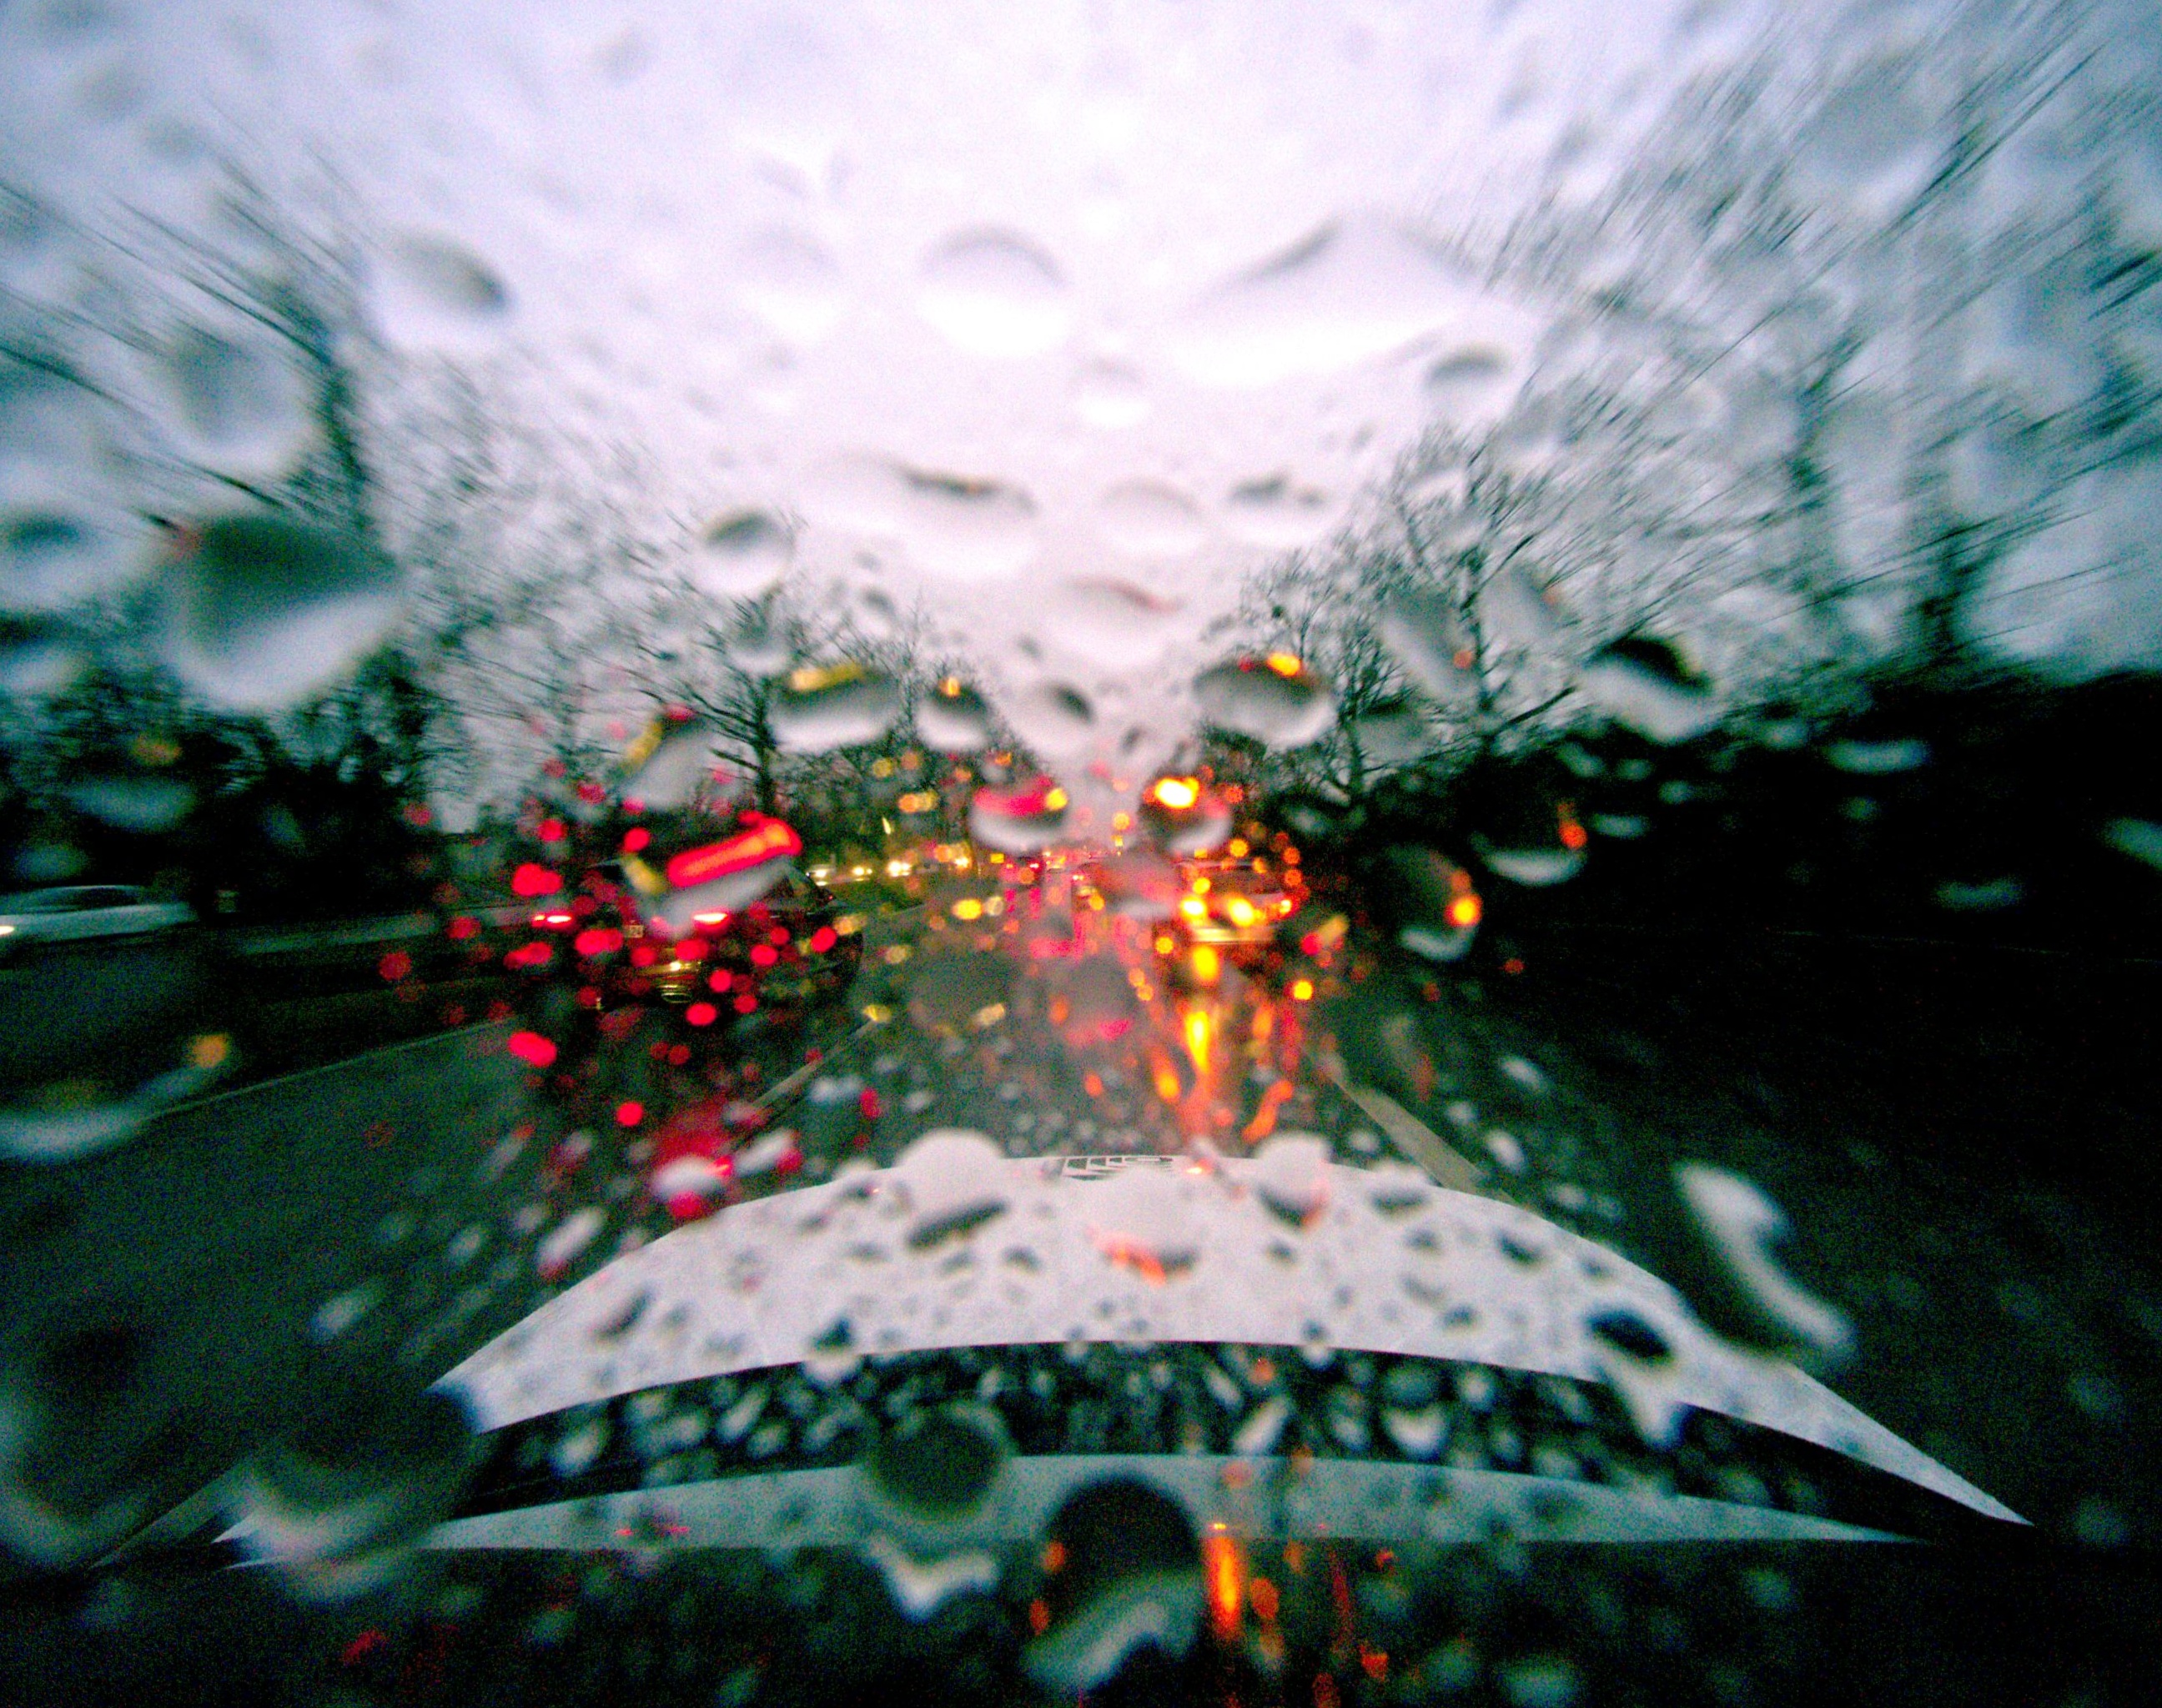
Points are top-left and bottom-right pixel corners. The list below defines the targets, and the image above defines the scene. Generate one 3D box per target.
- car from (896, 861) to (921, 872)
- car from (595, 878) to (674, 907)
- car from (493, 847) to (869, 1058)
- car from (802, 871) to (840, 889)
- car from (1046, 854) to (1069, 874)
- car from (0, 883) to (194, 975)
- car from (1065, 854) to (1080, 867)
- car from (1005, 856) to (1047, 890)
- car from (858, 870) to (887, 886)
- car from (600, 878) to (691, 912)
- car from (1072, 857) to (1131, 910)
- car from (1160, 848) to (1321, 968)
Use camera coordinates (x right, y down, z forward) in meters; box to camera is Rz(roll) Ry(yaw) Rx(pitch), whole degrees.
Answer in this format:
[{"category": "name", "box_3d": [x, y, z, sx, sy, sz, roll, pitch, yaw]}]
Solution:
[{"category": "car", "box_3d": [-20.739, 1.519, 98.236, 1.986, 1.191, 4.002, 0, -1, 2]}, {"category": "car", "box_3d": [-23.697, 2.014, 43.387, 1.745, 1.308, 4.316, -1, -1, 1]}, {"category": "car", "box_3d": [-3.816, 0.829, 8.815, 1.816, 1.648, 4.465, -2, -1, 0]}, {"category": "car", "box_3d": [-22.351, 2.223, 70.187, 1.744, 1.482, 4.200, -1, -1, 3]}, {"category": "car", "box_3d": [-2.041, 0.910, 70.805, 1.816, 1.648, 4.000, -2, -1, 1]}, {"category": "car", "box_3d": [-20.868, 1.460, 16.540, 1.779, 1.627, 3.574, -1, -1, 0]}, {"category": "car", "box_3d": [-0.983, 0.763, 92.096, 1.499, 1.339, 4.001, -2, -1, 2]}, {"category": "car", "box_3d": [-2.913, 1.002, 43.622, 1.815, 1.648, 4.001, -2, -1, 2]}, {"category": "car", "box_3d": [-18.476, 2.081, 72.366, 1.633, 1.339, 3.998, 0, -1, -1]}, {"category": "car", "box_3d": [-19.752, 1.831, 37.167, 1.745, 1.308, 4.316, -1, -1, 1]}, {"category": "car", "box_3d": [0.703, 0.971, 27.390, 1.815, 1.648, 4.468, 0, -1, 2]}, {"category": "car", "box_3d": [2.407, 0.796, 13.453, 1.926, 1.648, 4.468, 0, -1, 2]}]
